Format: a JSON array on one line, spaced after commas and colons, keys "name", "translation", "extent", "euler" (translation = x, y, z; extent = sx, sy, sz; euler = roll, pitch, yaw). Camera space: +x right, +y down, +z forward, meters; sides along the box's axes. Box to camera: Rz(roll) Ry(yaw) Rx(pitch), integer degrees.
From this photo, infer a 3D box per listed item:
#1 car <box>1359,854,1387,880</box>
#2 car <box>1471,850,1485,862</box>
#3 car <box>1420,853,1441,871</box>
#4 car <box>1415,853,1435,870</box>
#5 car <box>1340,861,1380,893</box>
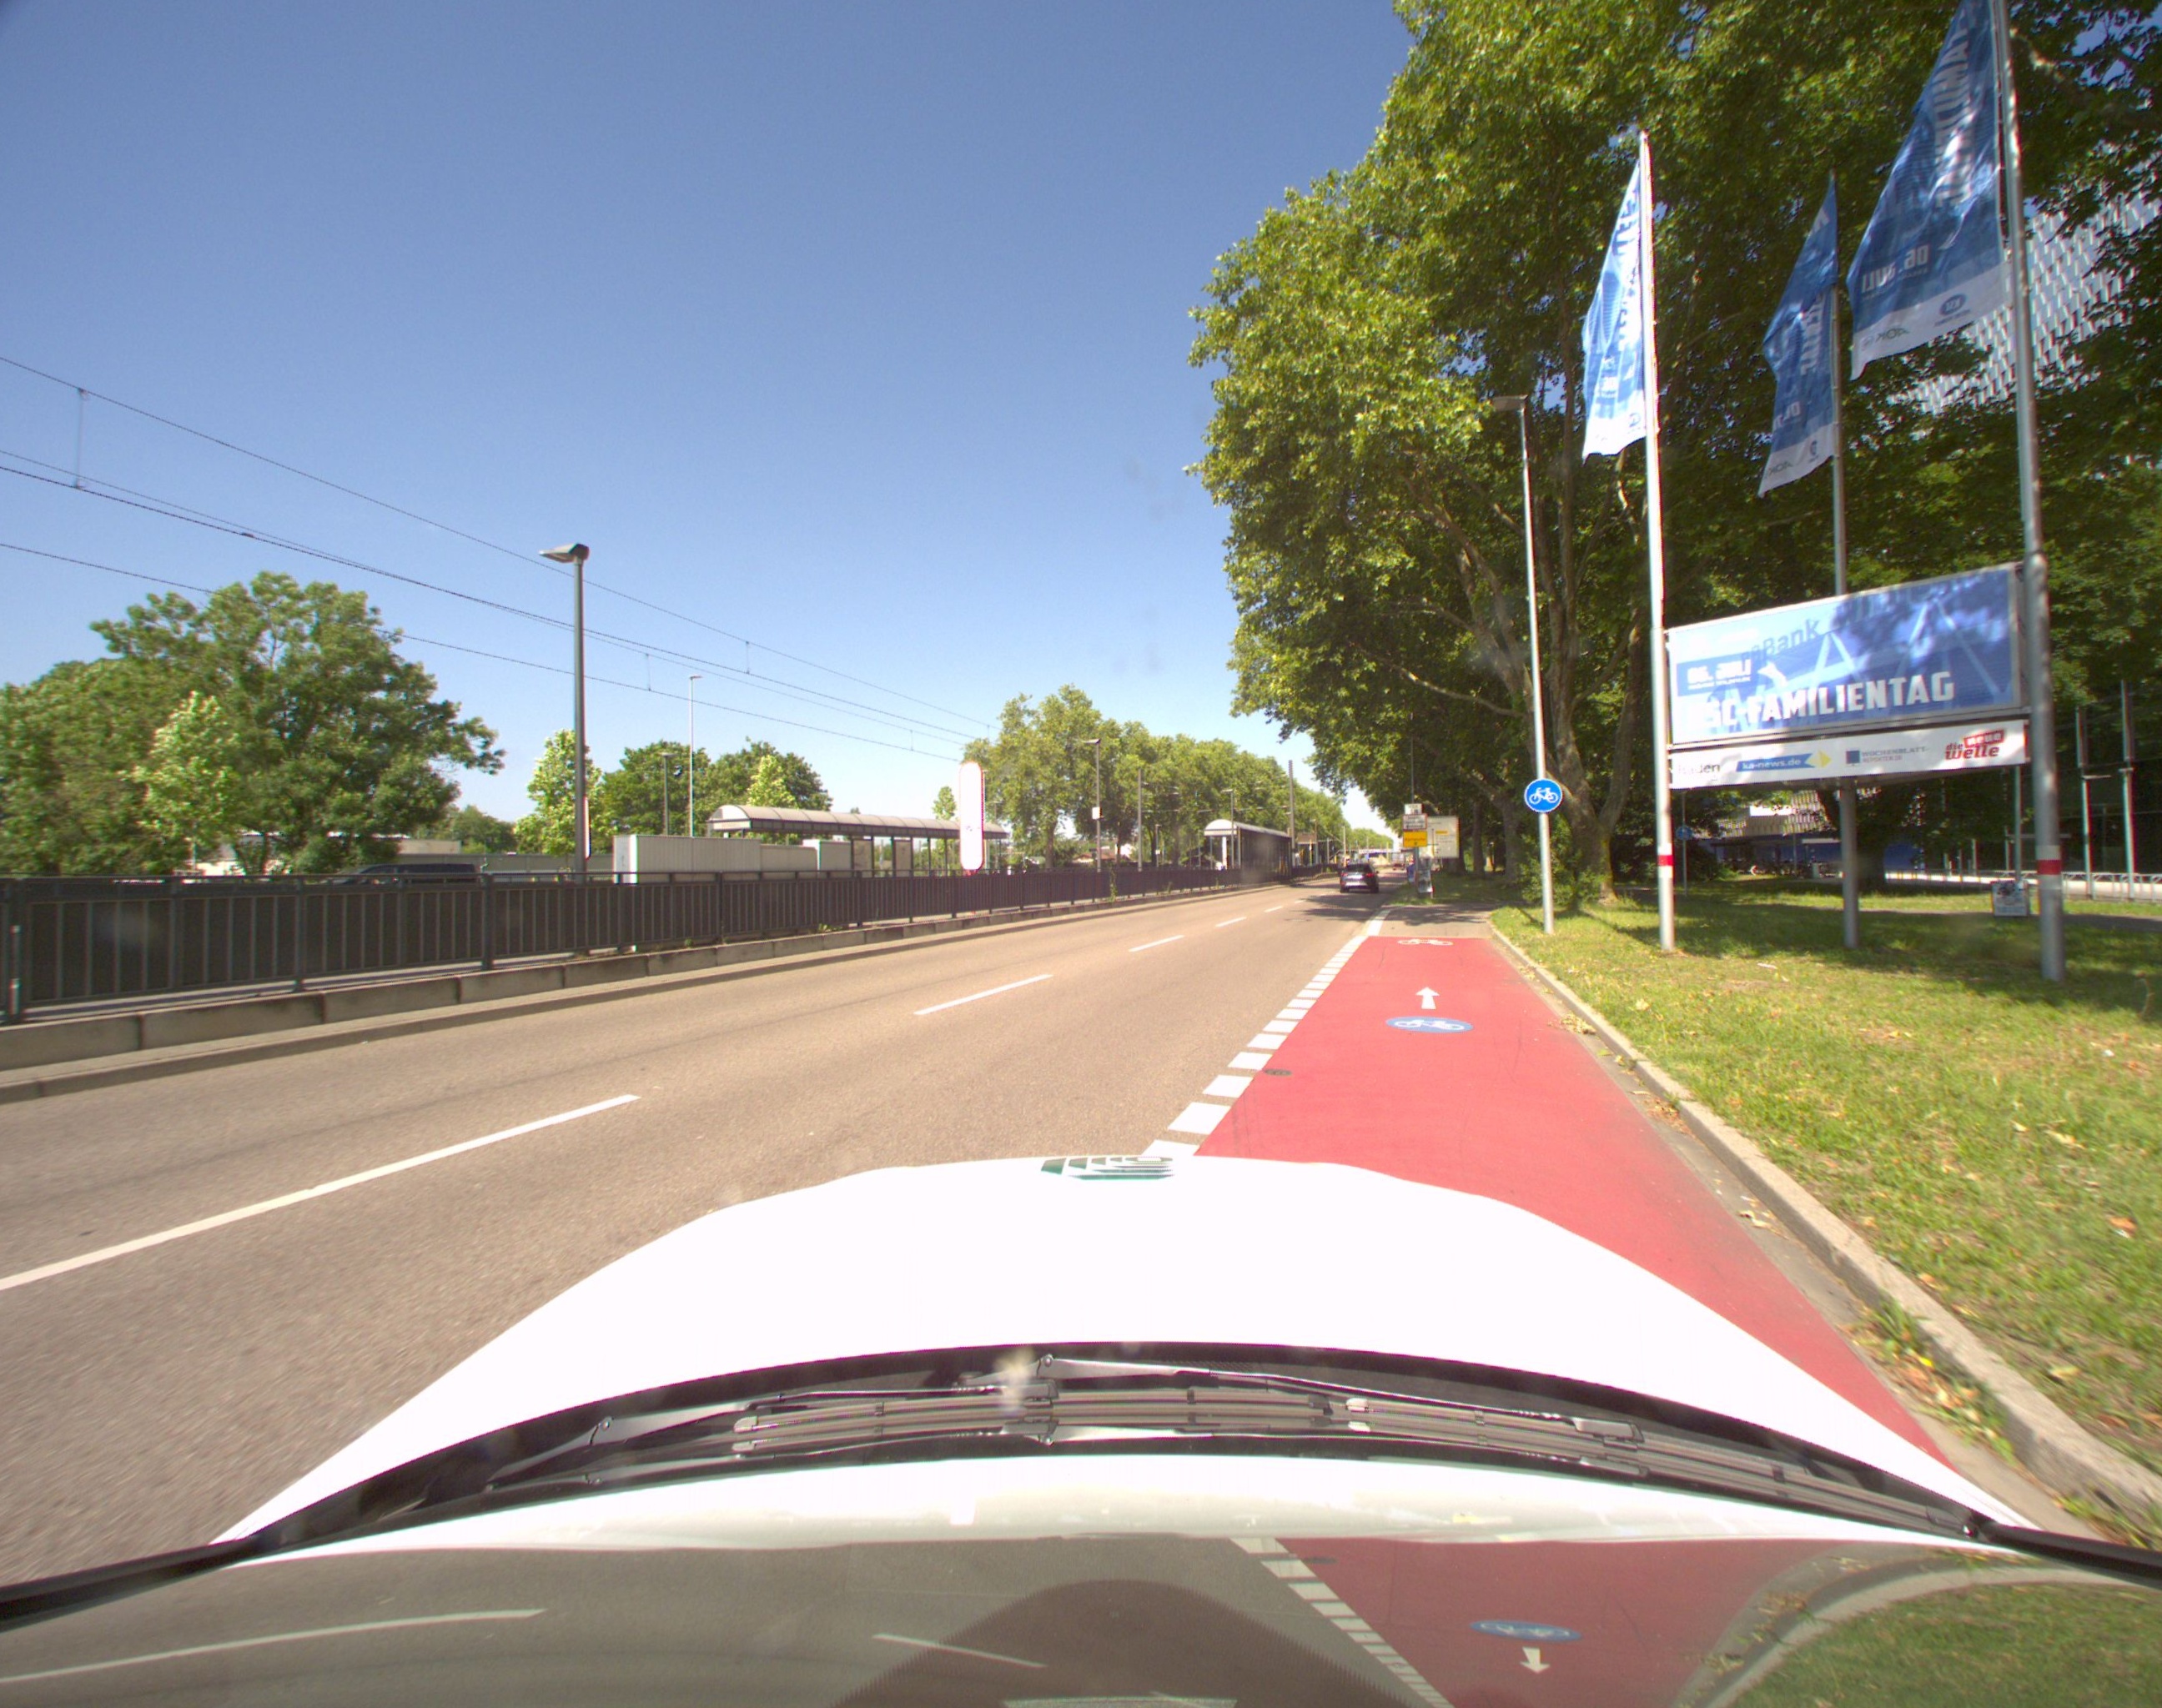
[{"name": "car", "translation": [23.911, 1.087, 66.553], "extent": [1.976, 2.014, 4.021], "euler": [-2, -1, 22]}, {"name": "car", "translation": [71.139, 0.377, 145.932], "extent": [1.975, 2.014, 4.024], "euler": [-2, -1, 28]}, {"name": "car", "translation": [39.228, 0.901, 91.427], "extent": [1.976, 2.014, 4.021], "euler": [-2, -1, 22]}, {"name": "car", "translation": [44.827, 0.981, 106.009], "extent": [1.946, 2.014, 4.024], "euler": [-2, -1, 28]}, {"name": "car", "translation": [14.237, 1.155, 41.445], "extent": [1.655, 1.523, 3.395], "euler": [0, -1, 23]}]
